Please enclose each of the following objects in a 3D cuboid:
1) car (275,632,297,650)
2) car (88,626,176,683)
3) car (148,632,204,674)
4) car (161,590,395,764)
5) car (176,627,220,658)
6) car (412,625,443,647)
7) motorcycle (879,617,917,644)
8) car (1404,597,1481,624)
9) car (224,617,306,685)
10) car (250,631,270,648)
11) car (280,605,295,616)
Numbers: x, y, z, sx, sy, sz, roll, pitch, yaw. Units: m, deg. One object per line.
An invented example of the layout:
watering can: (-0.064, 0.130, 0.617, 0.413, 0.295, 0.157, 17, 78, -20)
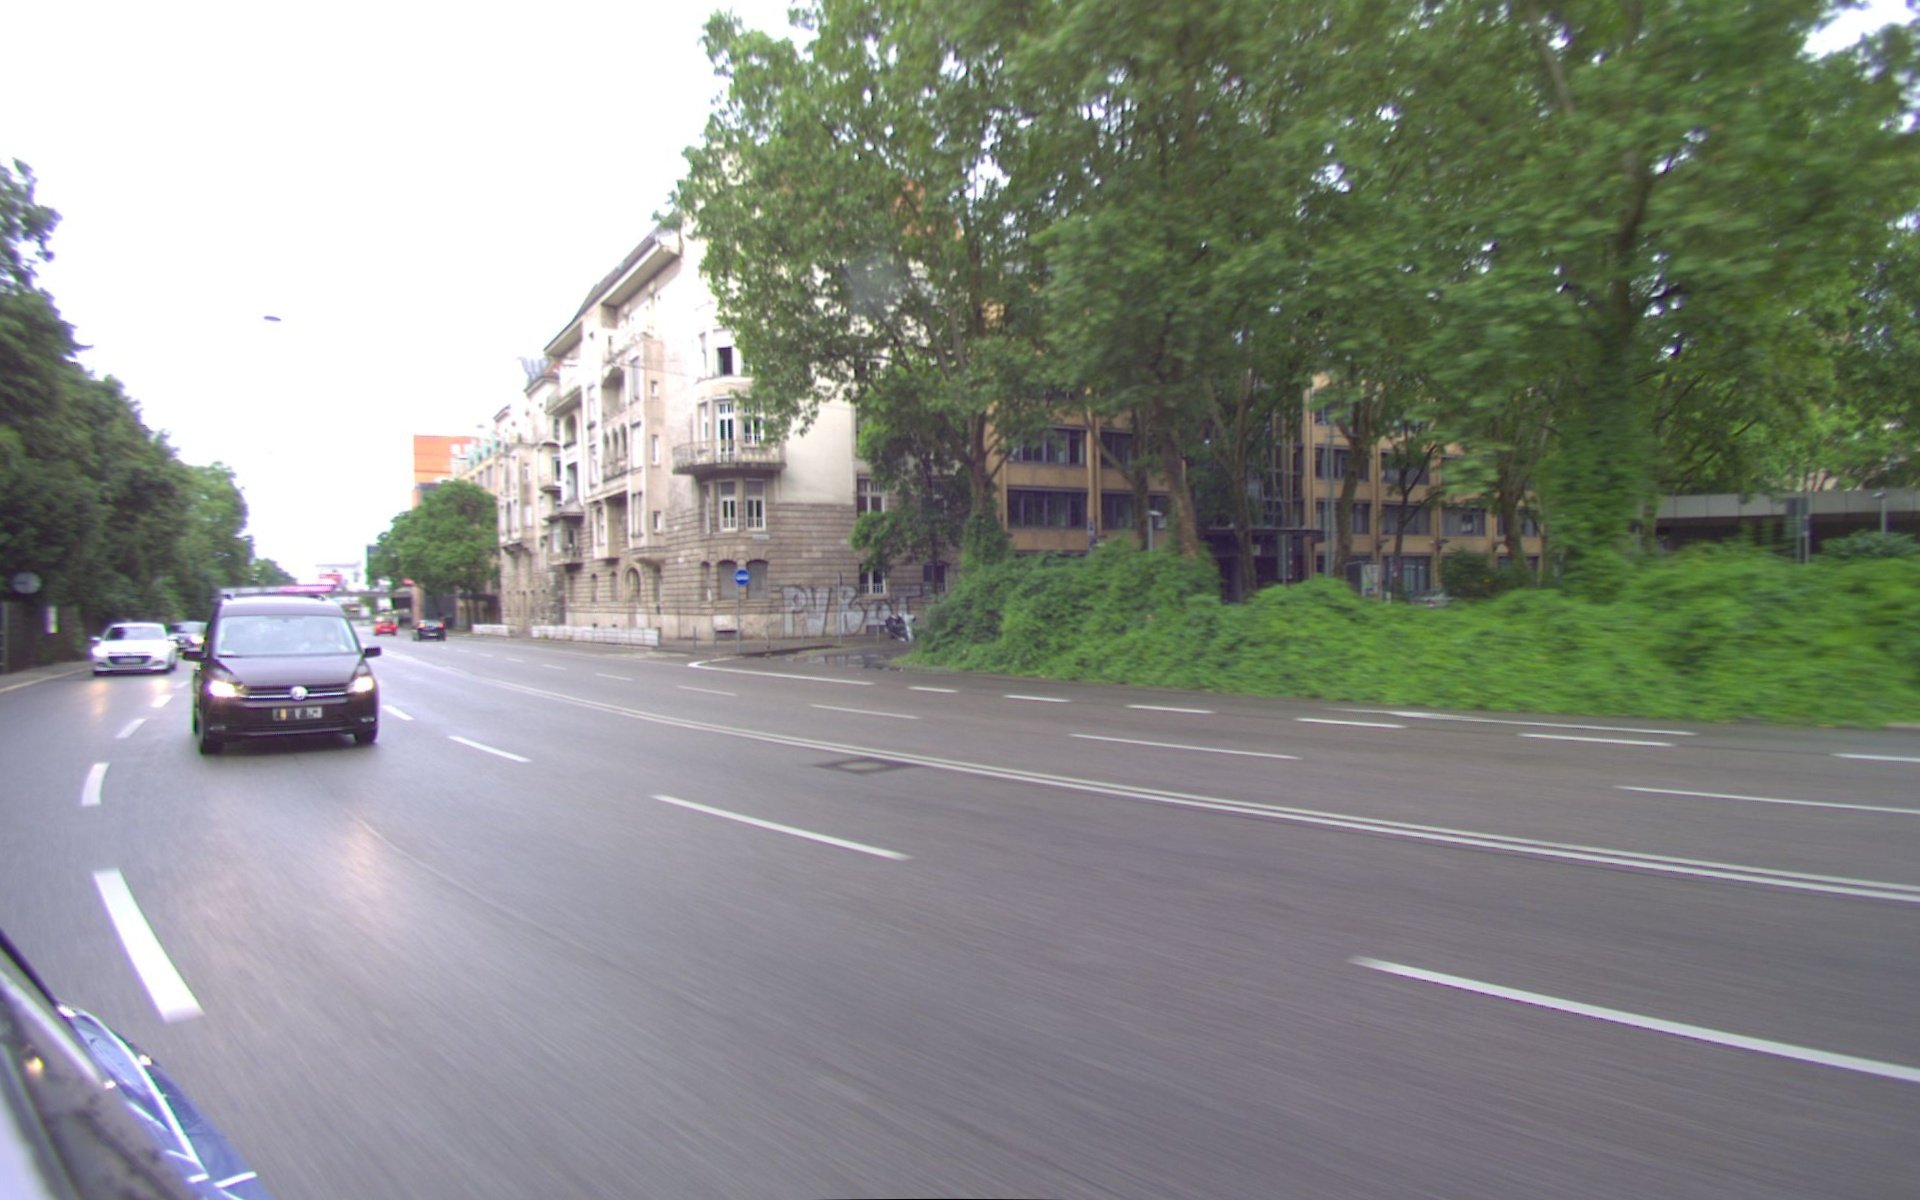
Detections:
car: (-73.410, 4.451, 110.202, 1.848, 1.785, 4.010, -3, 1, -35)
car: (-24.044, 1.536, 29.488, 1.704, 1.450, 4.009, -2, 0, -36)
car: (-35.618, 2.365, 46.048, 1.773, 1.608, 4.009, -4, 1, -36)
car: (-8.576, 0.862, 12.585, 1.815, 1.805, 4.004, 1, -2, -43)
car: (-45.715, 2.516, 60.800, 1.773, 1.608, 4.011, -3, 1, -33)
car: (-35.574, 2.381, 67.618, 1.677, 1.349, 3.927, -1, -1, -30)
motorcycle: (-2.702, 1.319, 43.832, 0.496, 1.150, 2.400, -1, -1, -32)
car: (23.171, 0.483, 48.616, 3.445, 1.216, 1.502, 0, -2, -27)
car: (-19.109, 1.344, 27.771, 1.704, 1.625, 4.009, -2, 0, -36)
car: (-81.959, 4.564, 118.512, 1.848, 1.785, 4.010, -3, 1, -35)
car: (-106.899, 1.706, 160.869, 1.795, 1.623, 4.011, -3, 1, -32)
